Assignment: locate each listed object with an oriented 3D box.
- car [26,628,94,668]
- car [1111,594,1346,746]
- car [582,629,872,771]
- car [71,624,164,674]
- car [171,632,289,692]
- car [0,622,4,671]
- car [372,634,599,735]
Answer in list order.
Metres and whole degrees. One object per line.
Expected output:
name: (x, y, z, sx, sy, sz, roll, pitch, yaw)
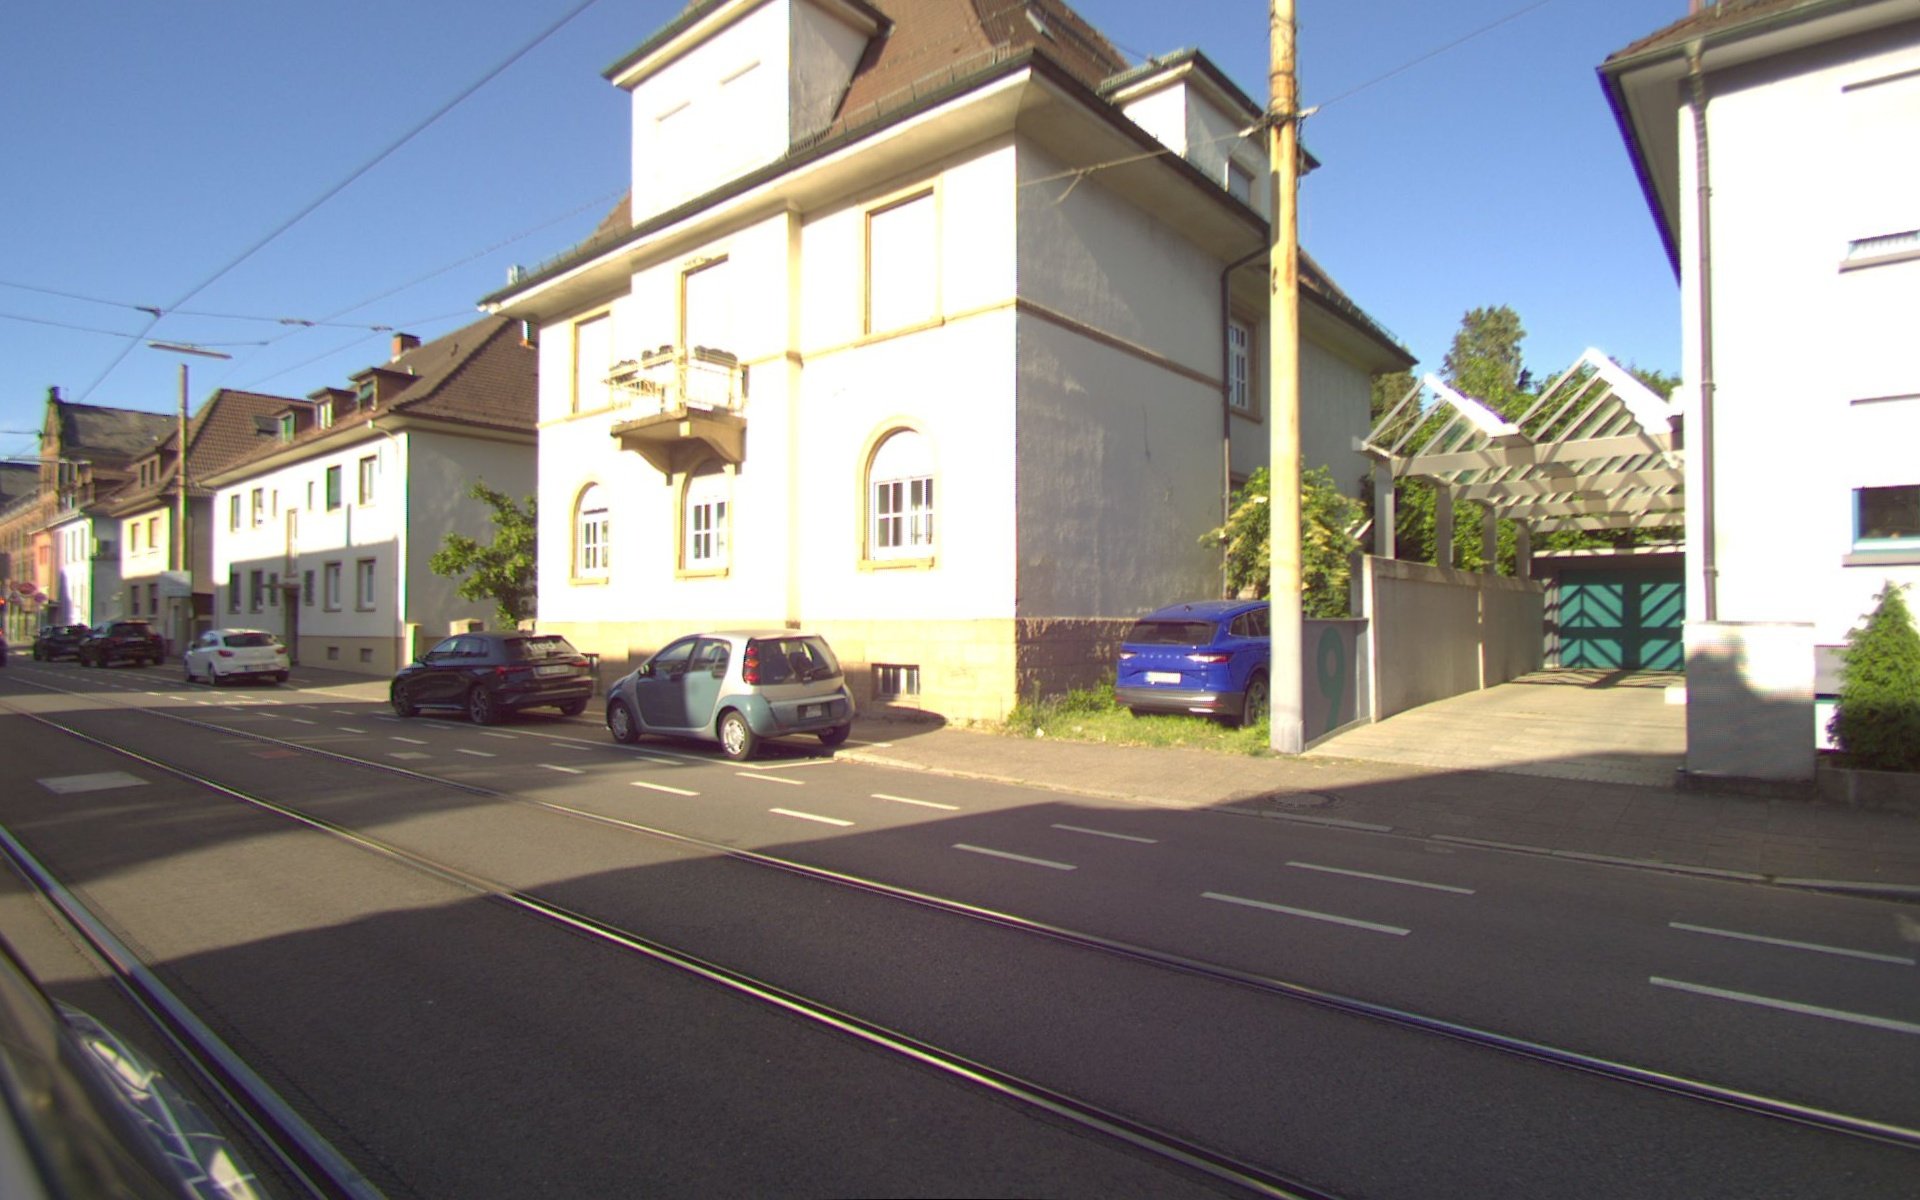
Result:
car: (-39.410, 2.078, 44.300, 3.918, 1.640, 1.599, -1, -3, 40)
car: (3.856, 0.897, 14.101, 1.753, 1.797, 3.886, -1, -2, 39)
car: (-3.062, 1.150, 12.924, 3.833, 1.488, 1.659, -2, -1, 41)
car: (-30.433, 1.737, 36.523, 4.551, 1.718, 1.744, -1, -3, 40)
car: (-19.327, 1.591, 26.745, 4.013, 1.468, 1.614, -1, -3, 41)
car: (-36.170, 1.651, 36.711, 4.361, 1.718, 1.686, -1, -3, 41)
car: (-8.008, 1.321, 16.936, 4.243, 1.488, 1.647, -1, -2, 37)
